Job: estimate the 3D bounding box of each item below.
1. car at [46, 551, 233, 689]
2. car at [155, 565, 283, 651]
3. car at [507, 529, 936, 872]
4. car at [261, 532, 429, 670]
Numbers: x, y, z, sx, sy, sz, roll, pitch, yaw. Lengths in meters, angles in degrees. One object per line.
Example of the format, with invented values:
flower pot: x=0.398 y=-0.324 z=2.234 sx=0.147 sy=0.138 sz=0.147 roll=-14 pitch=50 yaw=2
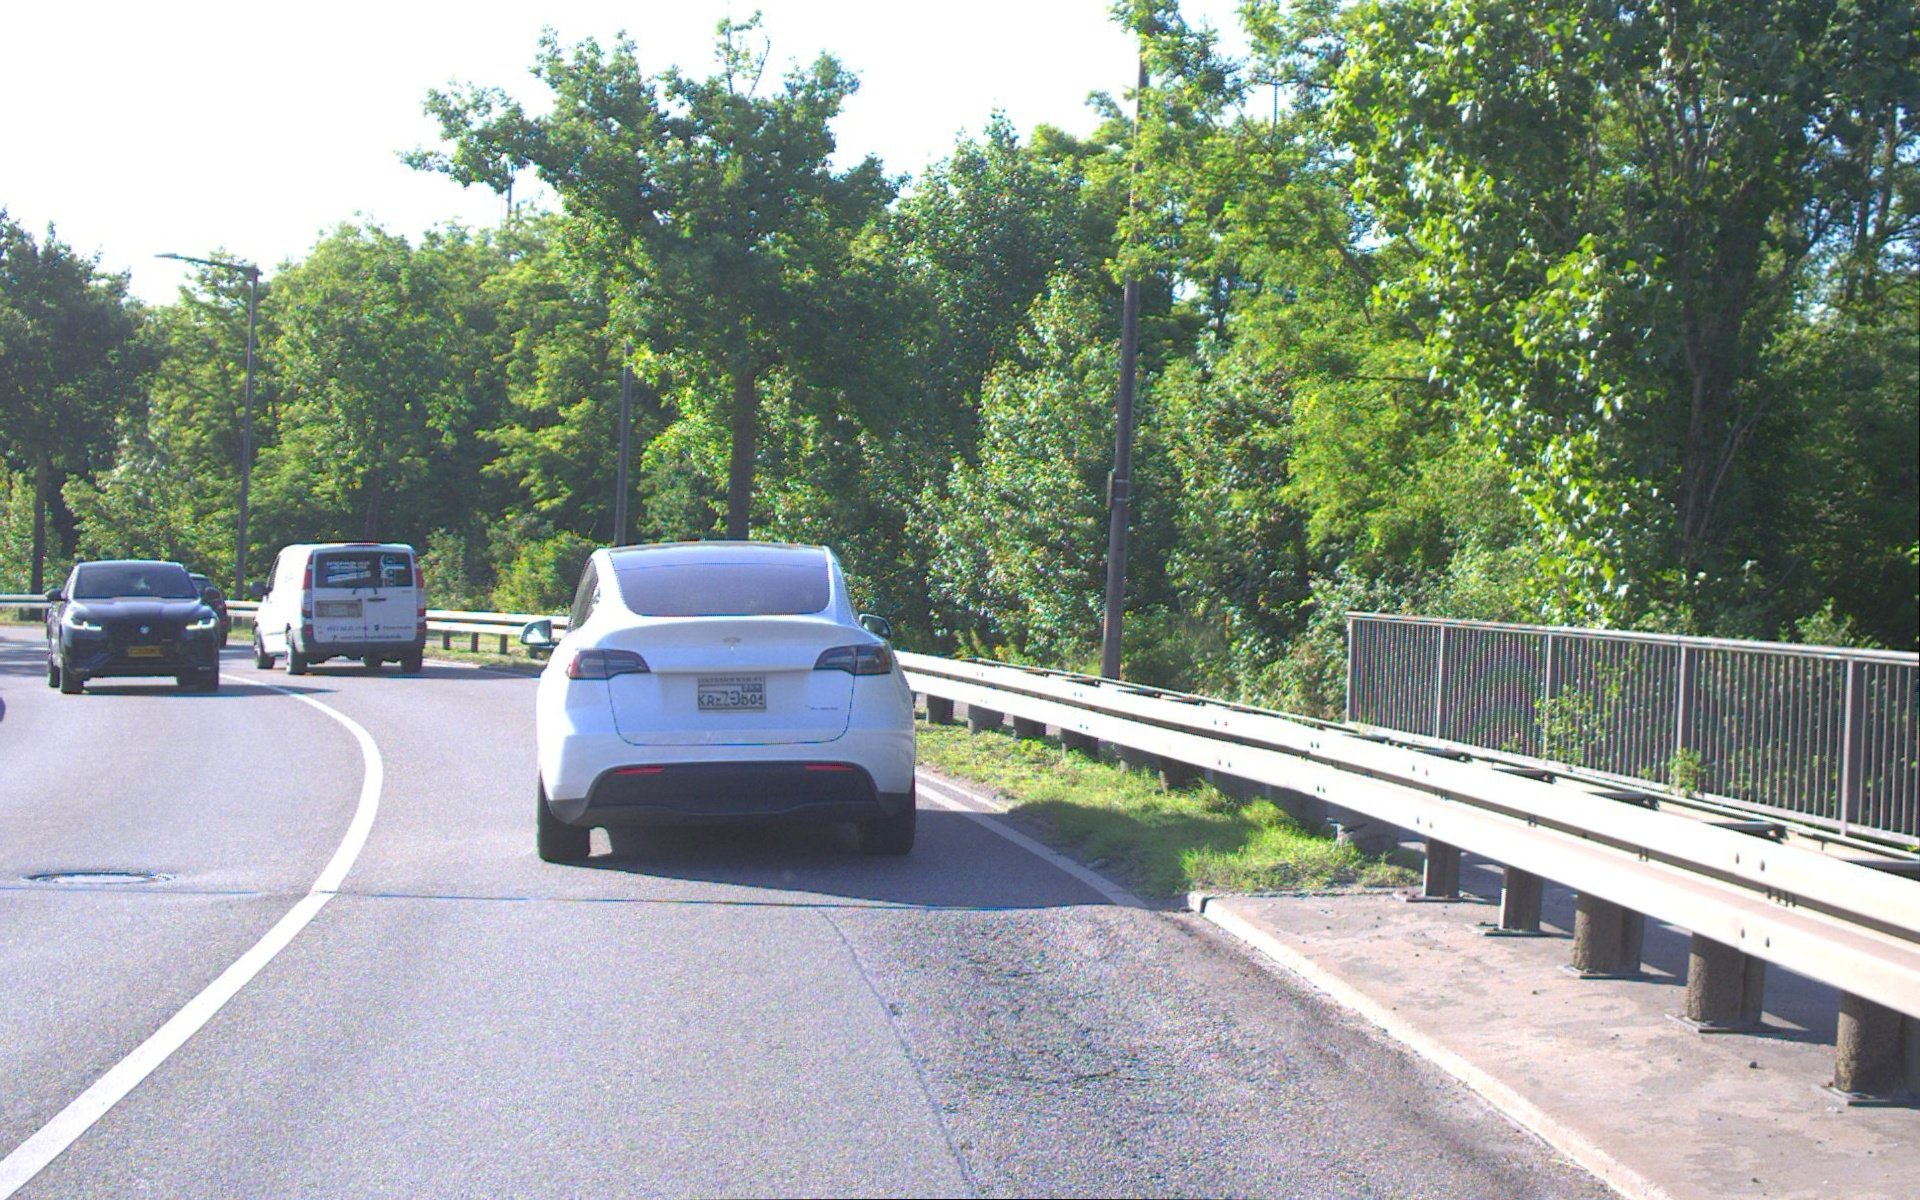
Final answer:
car: x=-10.473 y=0.203 z=43.690 sx=1.898 sy=1.637 sz=4.465 roll=0 pitch=1 yaw=-19
car: x=-14.365 y=0.120 z=66.491 sx=1.859 sy=1.579 sz=3.915 roll=0 pitch=1 yaw=-21
car: x=-1.401 y=0.450 z=18.499 sx=1.985 sy=1.632 sz=4.064 roll=0 pitch=1 yaw=-9
car: x=-9.077 y=-0.027 z=50.457 sx=2.004 sy=1.934 sz=4.469 roll=0 pitch=1 yaw=-16
